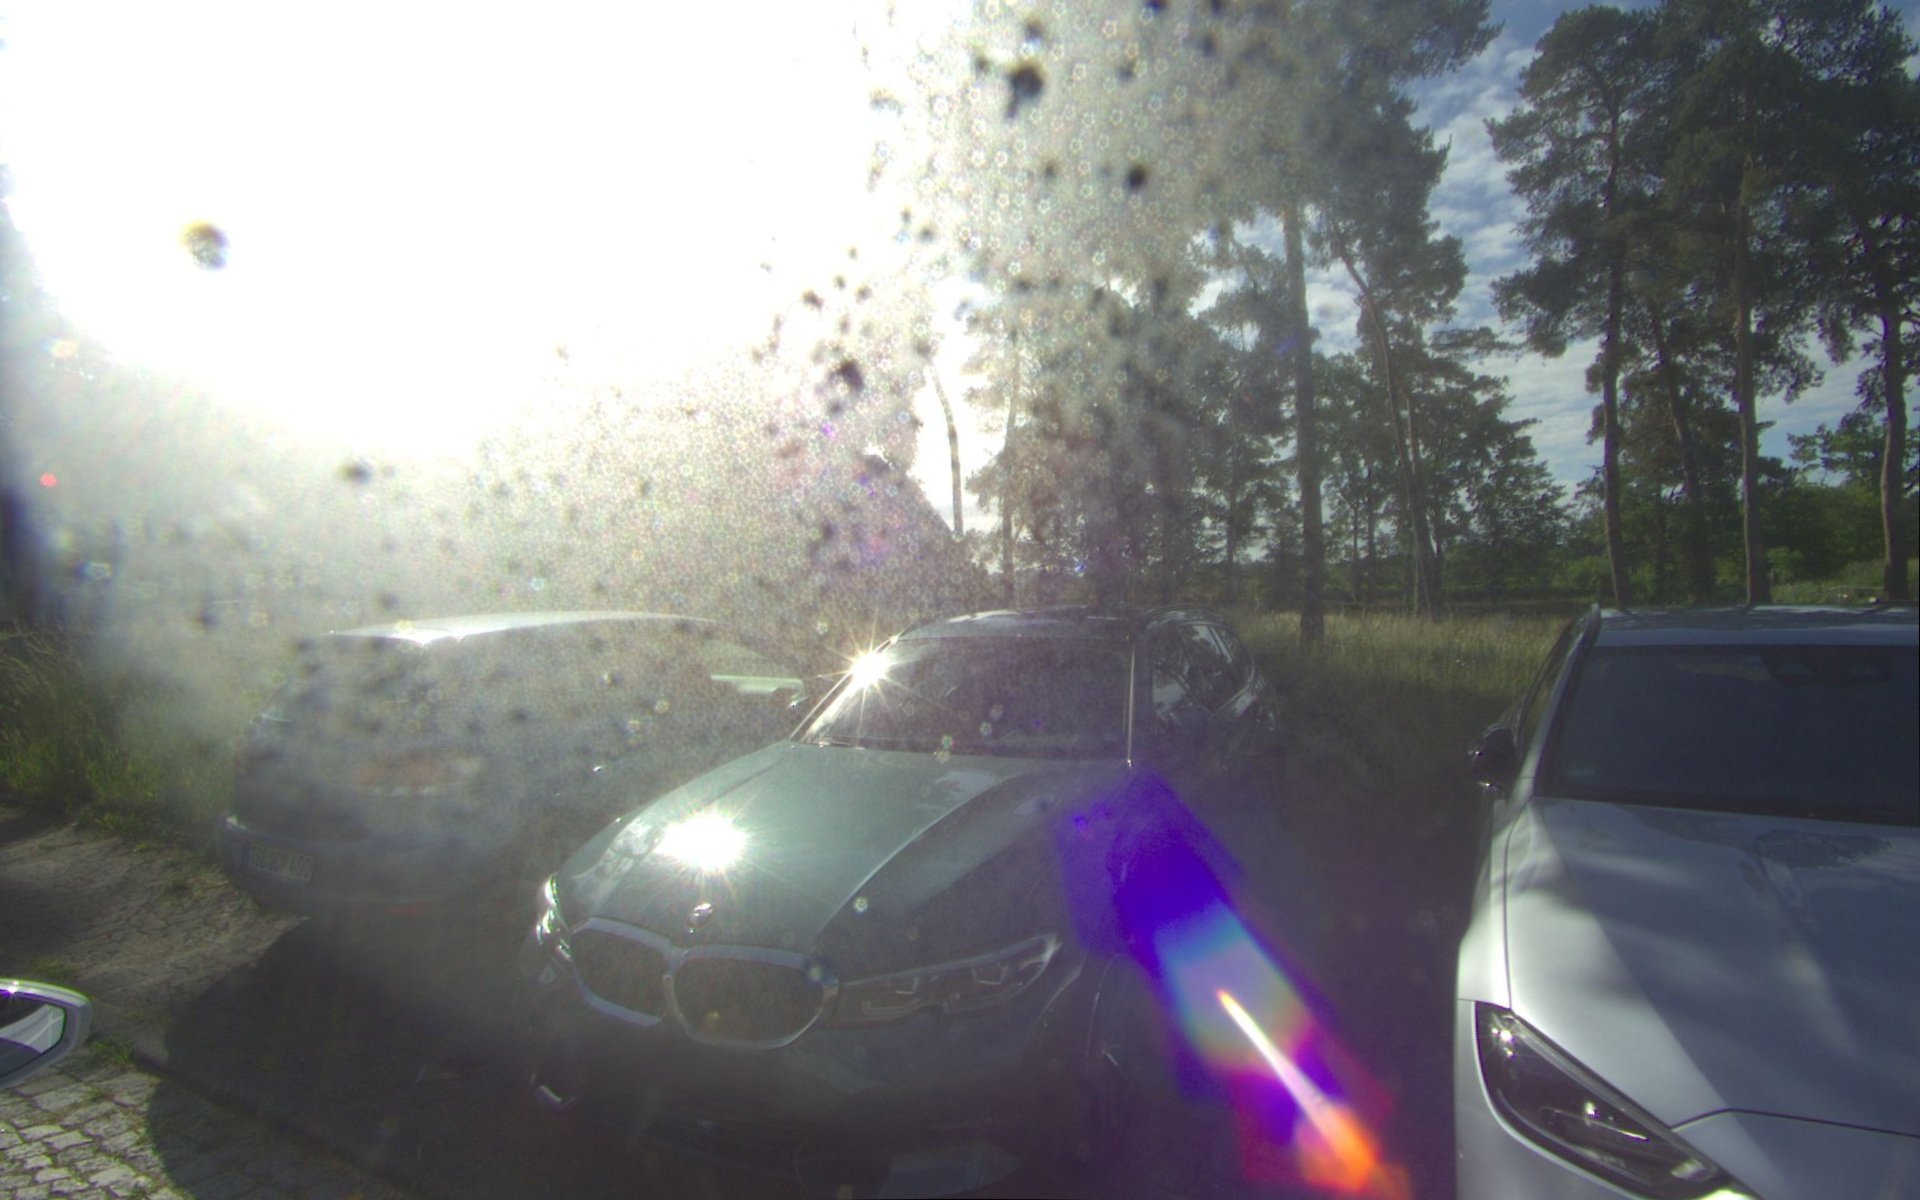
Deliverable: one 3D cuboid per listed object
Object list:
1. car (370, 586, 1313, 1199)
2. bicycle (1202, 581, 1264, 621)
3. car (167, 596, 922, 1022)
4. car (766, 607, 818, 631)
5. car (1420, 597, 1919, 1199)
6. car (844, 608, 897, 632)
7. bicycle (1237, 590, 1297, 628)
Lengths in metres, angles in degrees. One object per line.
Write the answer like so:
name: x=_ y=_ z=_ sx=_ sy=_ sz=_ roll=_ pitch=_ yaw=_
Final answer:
car: x=0.260 y=0.750 z=4.399 sx=1.840 sy=1.475 sz=4.614 roll=0 pitch=2 yaw=27
bicycle: x=14.898 y=0.082 z=54.741 sx=3.084 sy=2.040 sz=0.949 roll=-3 pitch=0 yaw=29
car: x=-1.879 y=0.764 z=5.633 sx=1.640 sy=1.463 sz=3.667 roll=-1 pitch=1 yaw=29
car: x=-12.119 y=1.362 z=72.397 sx=1.741 sy=1.693 sz=3.628 roll=-1 pitch=0 yaw=32
car: x=2.504 y=0.748 z=3.019 sx=1.761 sy=1.407 sz=4.393 roll=-1 pitch=1 yaw=28
car: x=-6.058 y=1.340 z=68.049 sx=1.741 sy=1.517 sz=3.628 roll=-1 pitch=0 yaw=32
bicycle: x=17.373 y=0.527 z=56.743 sx=3.085 sy=2.040 sz=0.949 roll=-3 pitch=-1 yaw=31
